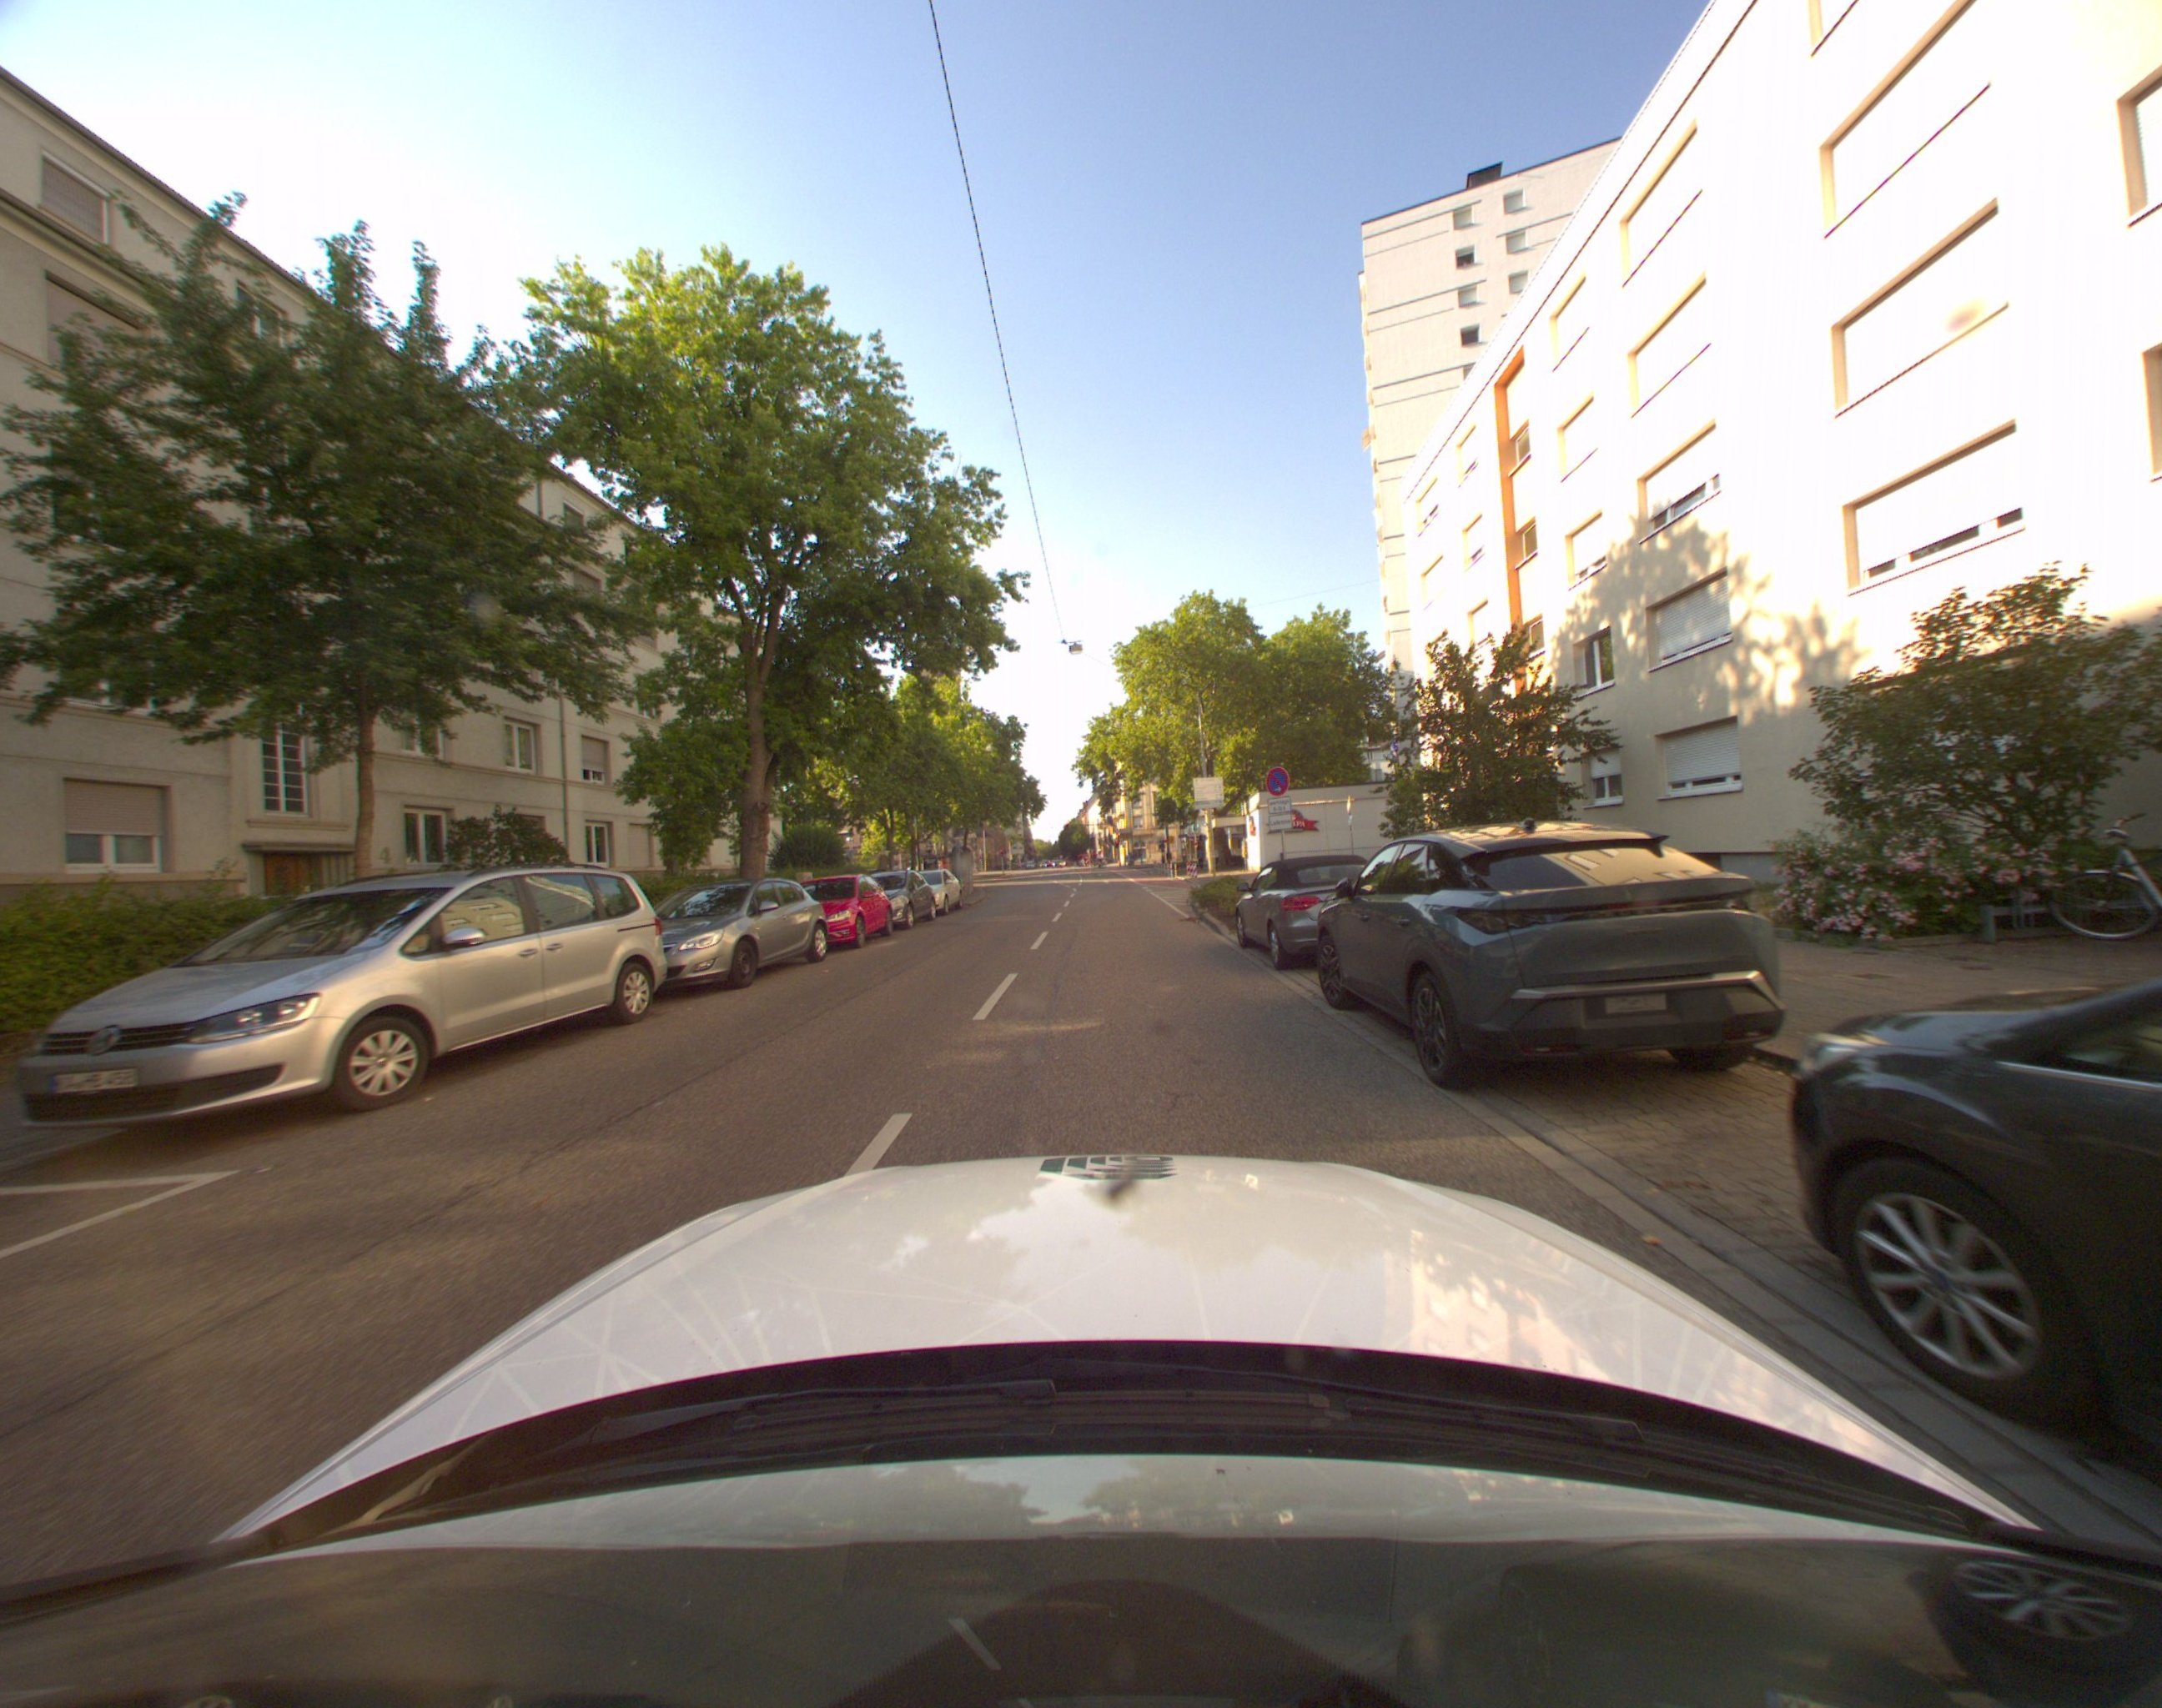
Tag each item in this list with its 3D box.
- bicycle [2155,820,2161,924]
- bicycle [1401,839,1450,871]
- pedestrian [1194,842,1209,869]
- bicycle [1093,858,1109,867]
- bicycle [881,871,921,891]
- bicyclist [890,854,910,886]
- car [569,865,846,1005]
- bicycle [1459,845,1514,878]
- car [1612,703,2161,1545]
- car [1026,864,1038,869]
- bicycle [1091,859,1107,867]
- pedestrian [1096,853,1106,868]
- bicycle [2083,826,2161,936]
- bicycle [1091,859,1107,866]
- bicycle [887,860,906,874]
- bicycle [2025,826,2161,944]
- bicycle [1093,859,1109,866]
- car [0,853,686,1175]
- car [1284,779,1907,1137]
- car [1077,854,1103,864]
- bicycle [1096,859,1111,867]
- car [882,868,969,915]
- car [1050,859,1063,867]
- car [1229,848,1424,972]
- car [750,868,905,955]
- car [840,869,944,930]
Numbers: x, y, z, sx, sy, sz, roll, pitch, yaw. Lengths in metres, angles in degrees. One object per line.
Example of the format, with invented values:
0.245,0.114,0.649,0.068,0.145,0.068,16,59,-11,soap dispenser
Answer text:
10.931,0.156,7.155,0.609,1.021,1.835,-2,-1,4,bicycle
10.706,0.024,25.398,0.634,0.925,2.231,-1,1,2,bicycle
9.467,0.142,64.099,0.824,2.013,1.153,-6,-1,1,pedestrian
2.460,1.056,98.648,1.767,0.982,0.660,-2,-1,25,bicycle
-11.781,1.745,53.457,0.998,1.264,2.499,-2,-1,36,bicycle
-11.876,1.050,53.352,0.964,2.014,0.802,-2,-2,36,bicyclist
-5.221,1.027,12.196,1.864,1.558,4.498,-5,-1,1,car
12.682,0.211,25.538,0.634,0.925,2.231,-1,1,2,bicycle
3.017,0.486,1.013,1.891,1.651,4.344,-3,0,1,car
-10.821,2.710,179.796,1.582,1.144,3.398,-2,-1,16,car
2.281,1.091,101.049,1.764,0.895,0.755,-3,0,27,bicycle
2.388,0.791,98.696,0.982,1.708,0.632,-2,-2,25,pedestrian
10.272,0.239,7.204,0.609,1.021,1.835,-2,-1,4,bicycle
3.190,1.507,144.501,2.799,1.203,0.509,-1,-1,-6,bicycle
-15.397,1.095,67.985,0.715,1.145,3.292,-1,-1,1,bicycle
9.638,0.265,7.151,0.609,1.021,1.835,-2,-1,4,bicycle
3.610,1.509,146.011,2.799,1.203,0.516,-1,-1,-6,bicycle
-5.640,0.945,6.957,1.909,1.677,4.975,-4,-1,1,car
3.100,0.554,6.343,1.920,1.659,4.679,-3,-1,1,car
1.909,1.039,164.956,5.027,2.014,2.142,-1,-2,-38,car
4.047,1.617,147.322,2.798,1.200,0.510,-1,17,-5,bicycle
-4.955,1.174,26.614,1.763,1.352,4.712,-1,-1,2,car
-4.557,1.714,153.812,1.575,1.462,3.196,-2,-1,15,car
3.374,0.724,11.986,1.734,1.473,4.001,-1,-1,1,car
-5.090,1.091,16.958,1.864,1.558,4.001,-1,-1,1,car
-4.942,1.150,21.902,1.697,1.440,4.130,-1,-1,1,car
